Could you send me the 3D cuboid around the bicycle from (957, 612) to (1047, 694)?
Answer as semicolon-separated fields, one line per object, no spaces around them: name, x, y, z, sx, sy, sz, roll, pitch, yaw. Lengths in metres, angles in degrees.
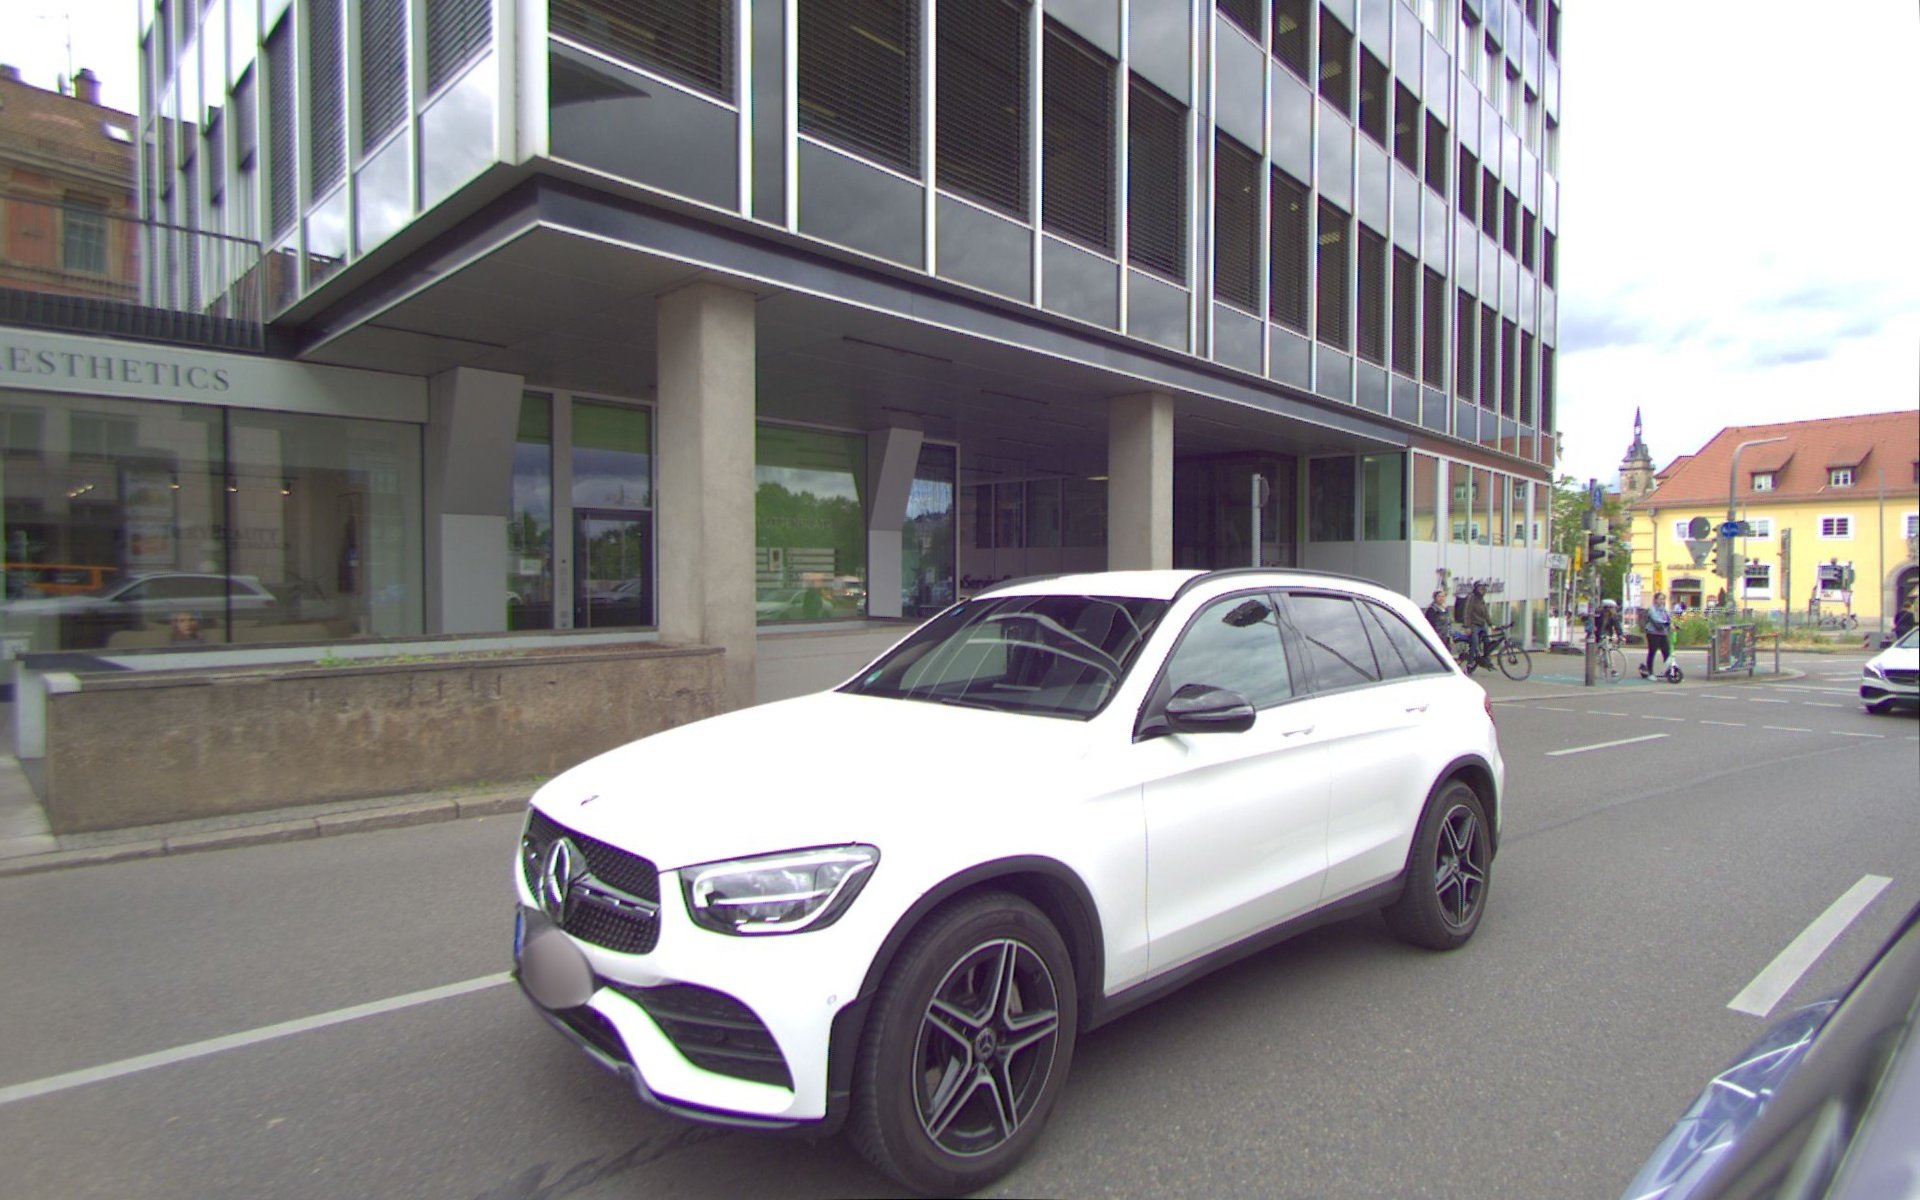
bicycle;0.617;0.724;14.407;0.707;1.061;1.472;1;1;28

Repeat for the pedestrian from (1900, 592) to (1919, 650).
pedestrian;28.779;0.624;30.281;0.795;1.719;0.542;2;1;31

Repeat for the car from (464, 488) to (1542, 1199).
car;0.536;0.571;4.101;4.258;1.666;1.806;0;2;-41

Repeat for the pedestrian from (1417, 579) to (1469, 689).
pedestrian;7.994;0.542;16.740;0.525;1.732;0.741;3;4;43

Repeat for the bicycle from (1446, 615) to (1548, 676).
bicycle;10.513;0.865;19.877;0.666;1.019;1.772;3;1;-17

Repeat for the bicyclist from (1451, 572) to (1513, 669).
bicyclist;10.319;0.385;20.024;0.661;1.868;0.816;0;2;-21

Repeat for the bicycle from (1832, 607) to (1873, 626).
bicycle;54.427;0.987;61.729;0.609;1.099;1.774;1;1;-31

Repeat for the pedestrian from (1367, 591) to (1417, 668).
pedestrian;8.449;0.557;19.796;0.604;1.460;0.825;3;2;44

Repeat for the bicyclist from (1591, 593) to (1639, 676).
bicyclist;12.823;0.657;19.833;0.558;1.568;0.841;2;2;20

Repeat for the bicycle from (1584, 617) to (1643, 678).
bicycle;12.864;0.912;19.956;0.574;1.039;1.659;2;2;20

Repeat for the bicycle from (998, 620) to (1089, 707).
bicycle;1.155;0.824;13.776;0.707;1.061;1.472;1;1;28

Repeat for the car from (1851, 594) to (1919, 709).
car;15.413;0.755;15.038;4.558;1.589;1.874;1;1;-30

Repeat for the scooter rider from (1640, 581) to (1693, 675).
scooter rider;14.200;0.550;20.355;0.583;1.831;0.642;1;2;7

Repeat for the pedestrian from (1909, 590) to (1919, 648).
pedestrian;31.020;0.600;32.442;0.663;1.838;0.696;1;0;28
